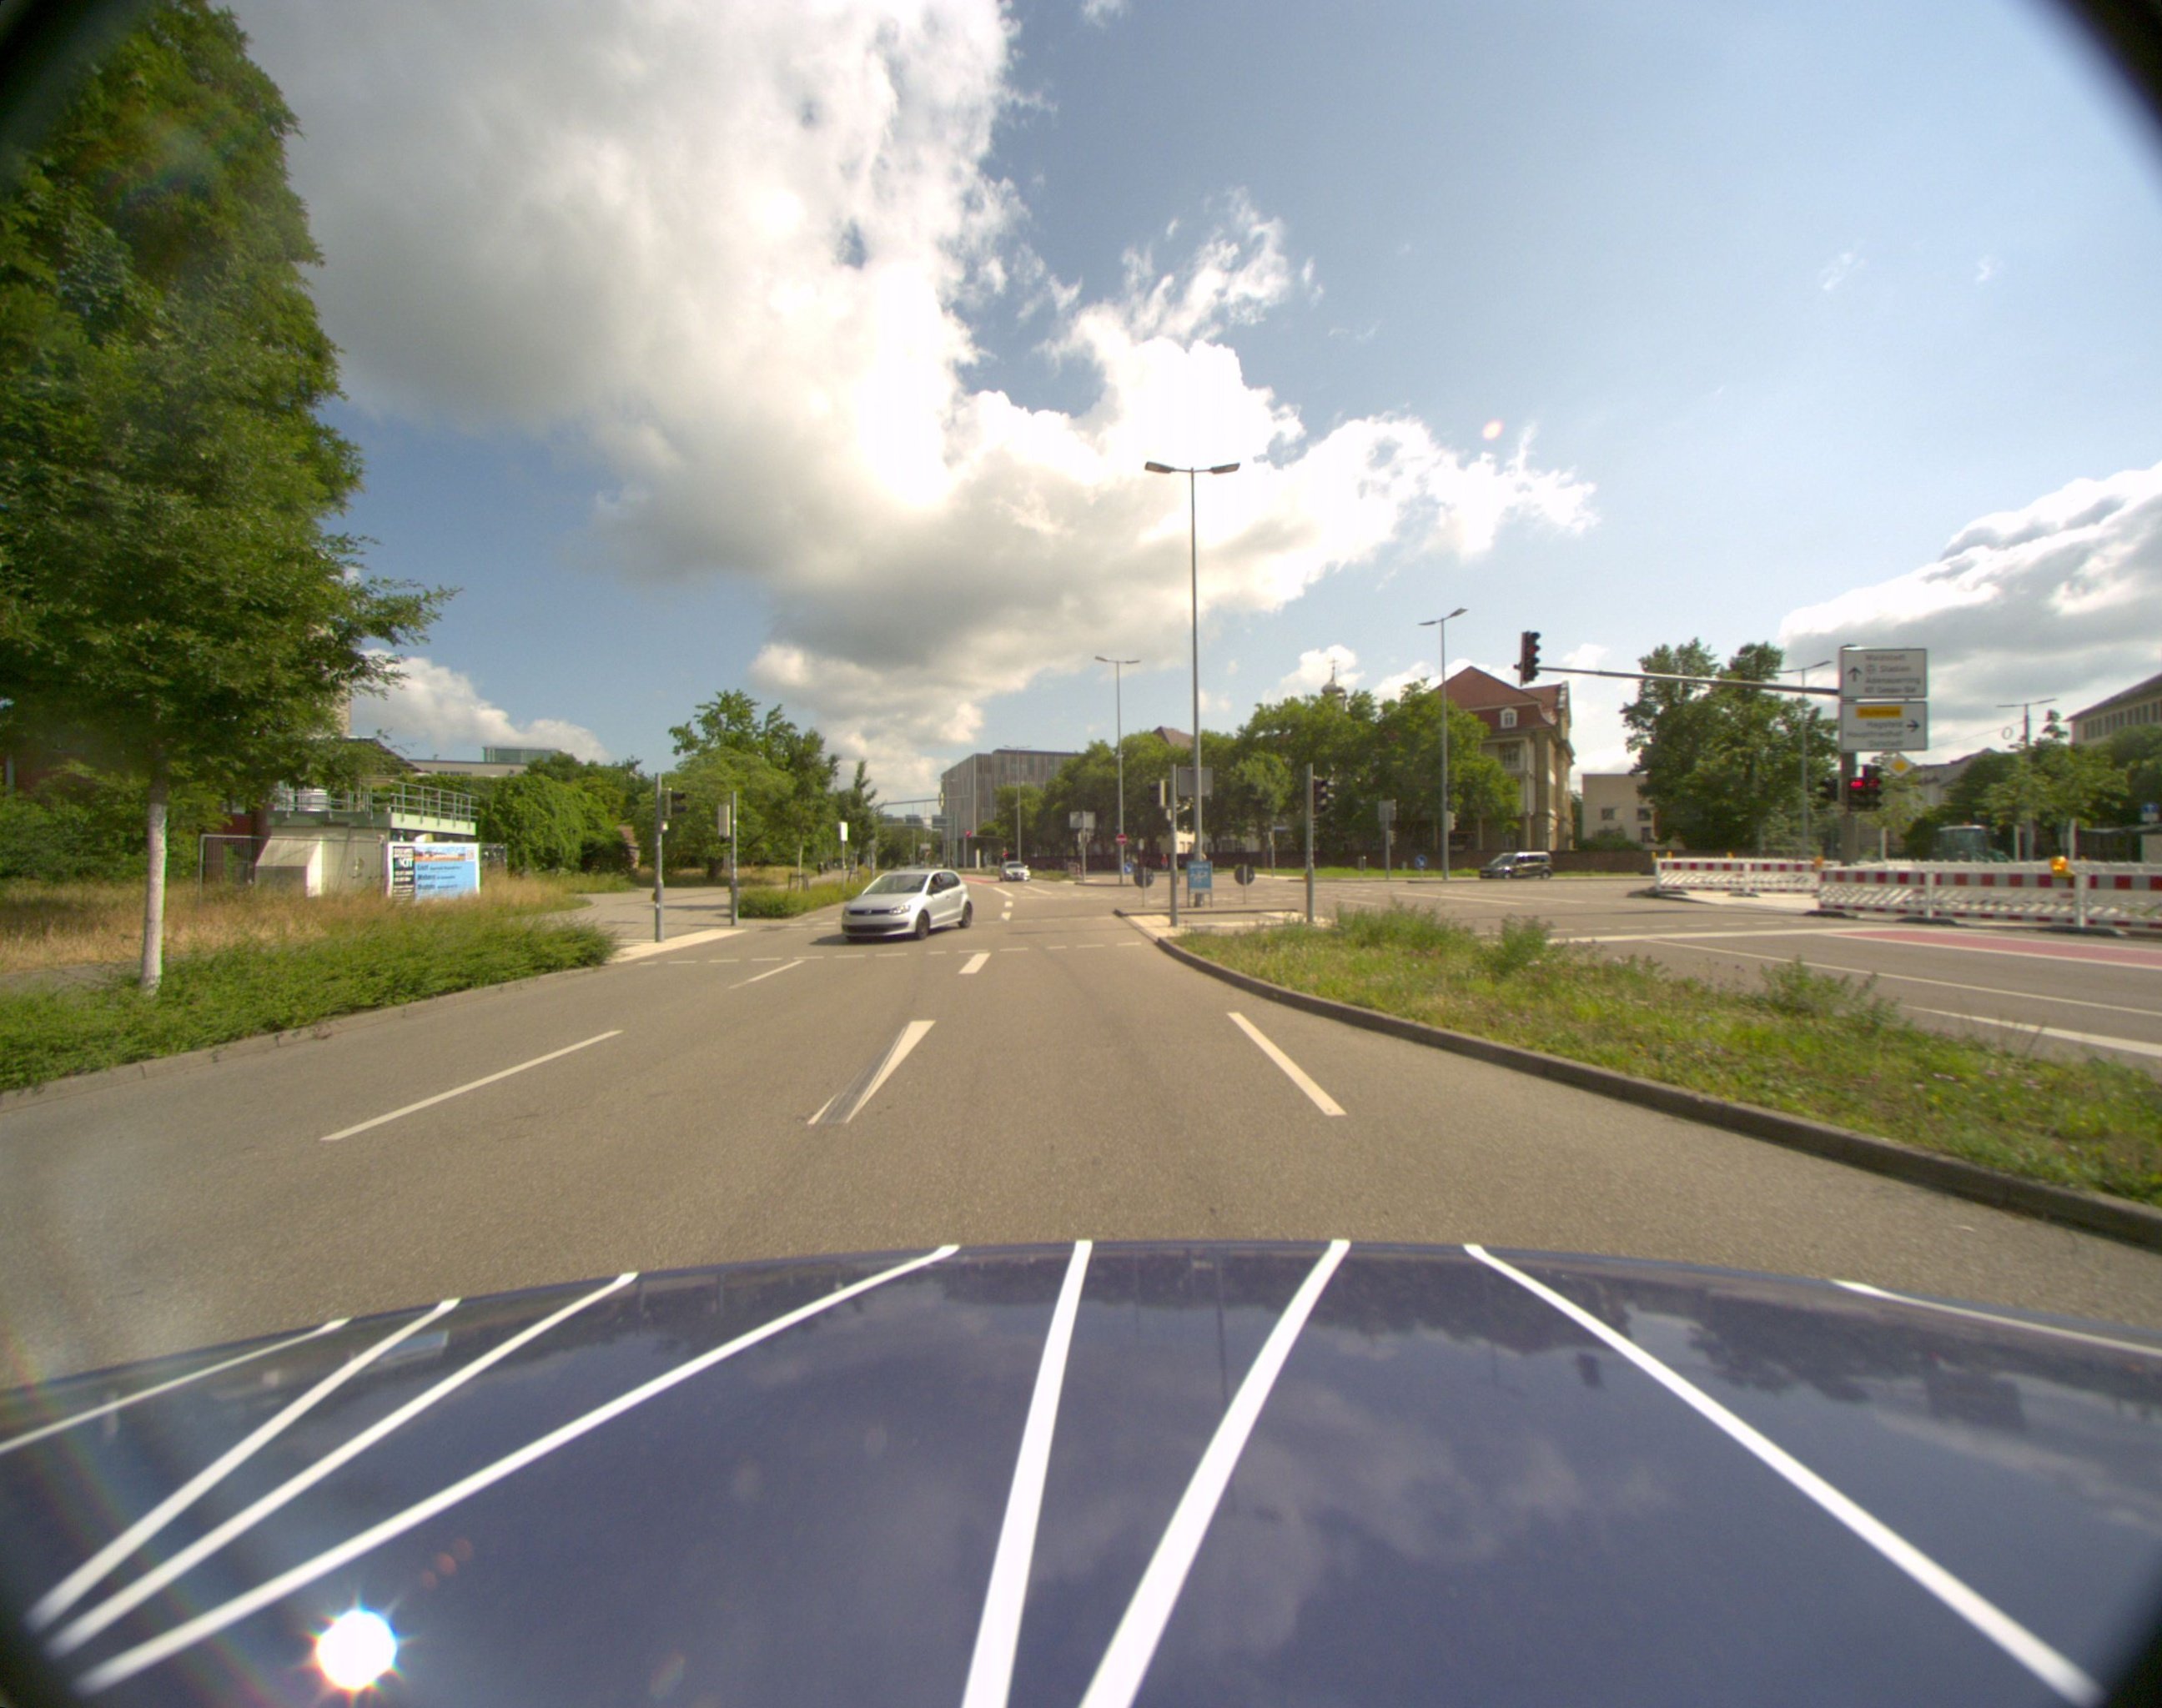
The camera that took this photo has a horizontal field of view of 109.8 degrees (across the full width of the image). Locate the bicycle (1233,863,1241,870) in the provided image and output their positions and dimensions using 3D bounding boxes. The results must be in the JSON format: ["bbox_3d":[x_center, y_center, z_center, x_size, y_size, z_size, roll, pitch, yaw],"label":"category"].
[{"bbox_3d":[18.191,1.428,88.599,0.975,0.843,0.481,0,0,-41],"label":"bicycle"}]

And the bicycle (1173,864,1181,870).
[{"bbox_3d":[12.137,1.630,95.644,0.975,0.843,0.481,0,0,-41],"label":"bicycle"}]

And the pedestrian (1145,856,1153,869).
[{"bbox_3d":[8.788,1.068,98.077,0.665,1.713,0.740,0,1,-38],"label":"pedestrian"}]

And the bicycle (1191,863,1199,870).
[{"bbox_3d":[14.030,1.573,93.429,0.975,0.843,0.481,0,0,-41],"label":"bicycle"}]

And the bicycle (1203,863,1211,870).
[{"bbox_3d":[15.305,1.493,92.046,0.975,0.843,0.481,0,0,-41],"label":"bicycle"}]

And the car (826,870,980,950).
[{"bbox_3d":[-3.699,1.120,16.546,1.653,1.433,4.009,0,0,13],"label":"car"}]

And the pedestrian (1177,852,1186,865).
[{"bbox_3d":[12.480,0.578,94.178,0.727,1.525,0.722,-1,1,-39],"label":"pedestrian"}]

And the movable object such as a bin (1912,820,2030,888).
[{"bbox_3d":[41.242,0.019,35.380,1.995,2.932,4.459,0,0,27],"label":"movable object such as a bin"}]

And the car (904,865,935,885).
[{"bbox_3d":[-11.756,1.471,55.170,2.001,1.369,4.155,1,0,-15],"label":"car"}]

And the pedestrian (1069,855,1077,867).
[{"bbox_3d":[-1.174,0.999,112.214,0.768,1.769,0.889,0,0,43],"label":"pedestrian"}]

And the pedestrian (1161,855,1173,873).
[{"bbox_3d":[8.412,0.983,73.994,0.750,1.770,0.963,-1,1,-27],"label":"pedestrian"}]

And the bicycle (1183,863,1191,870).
[{"bbox_3d":[13.137,1.564,94.451,0.975,0.843,0.481,0,0,-41],"label":"bicycle"}]

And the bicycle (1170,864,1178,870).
[{"bbox_3d":[11.737,1.654,96.060,0.975,0.843,0.481,0,0,-41],"label":"bicycle"}]

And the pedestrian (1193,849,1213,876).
[{"bbox_3d":[8.747,0.606,54.353,1.182,1.845,0.697,-1,-1,-30],"label":"pedestrian"}]

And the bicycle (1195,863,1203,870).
[{"bbox_3d":[14.408,1.550,93.024,0.975,0.843,0.481,0,0,-41],"label":"bicycle"}]

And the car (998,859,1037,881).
[{"bbox_3d":[-4.804,1.169,56.918,2.063,1.434,4.774,-2,0,-15],"label":"car"}]

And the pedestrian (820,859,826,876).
[{"bbox_3d":[-25.330,1.329,74.655,0.543,1.597,0.523,0,-2,-23],"label":"pedestrian"}]

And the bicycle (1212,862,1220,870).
[{"bbox_3d":[16.151,1.438,91.061,0.975,0.843,0.481,0,0,-41],"label":"bicycle"}]

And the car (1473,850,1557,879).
[{"bbox_3d":[27.166,0.672,47.569,4.675,1.774,1.852,0,-2,-18],"label":"car"}]

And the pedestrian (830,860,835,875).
[{"bbox_3d":[-30.111,1.632,92.162,0.543,1.757,0.523,0,-2,-23],"label":"pedestrian"}]
